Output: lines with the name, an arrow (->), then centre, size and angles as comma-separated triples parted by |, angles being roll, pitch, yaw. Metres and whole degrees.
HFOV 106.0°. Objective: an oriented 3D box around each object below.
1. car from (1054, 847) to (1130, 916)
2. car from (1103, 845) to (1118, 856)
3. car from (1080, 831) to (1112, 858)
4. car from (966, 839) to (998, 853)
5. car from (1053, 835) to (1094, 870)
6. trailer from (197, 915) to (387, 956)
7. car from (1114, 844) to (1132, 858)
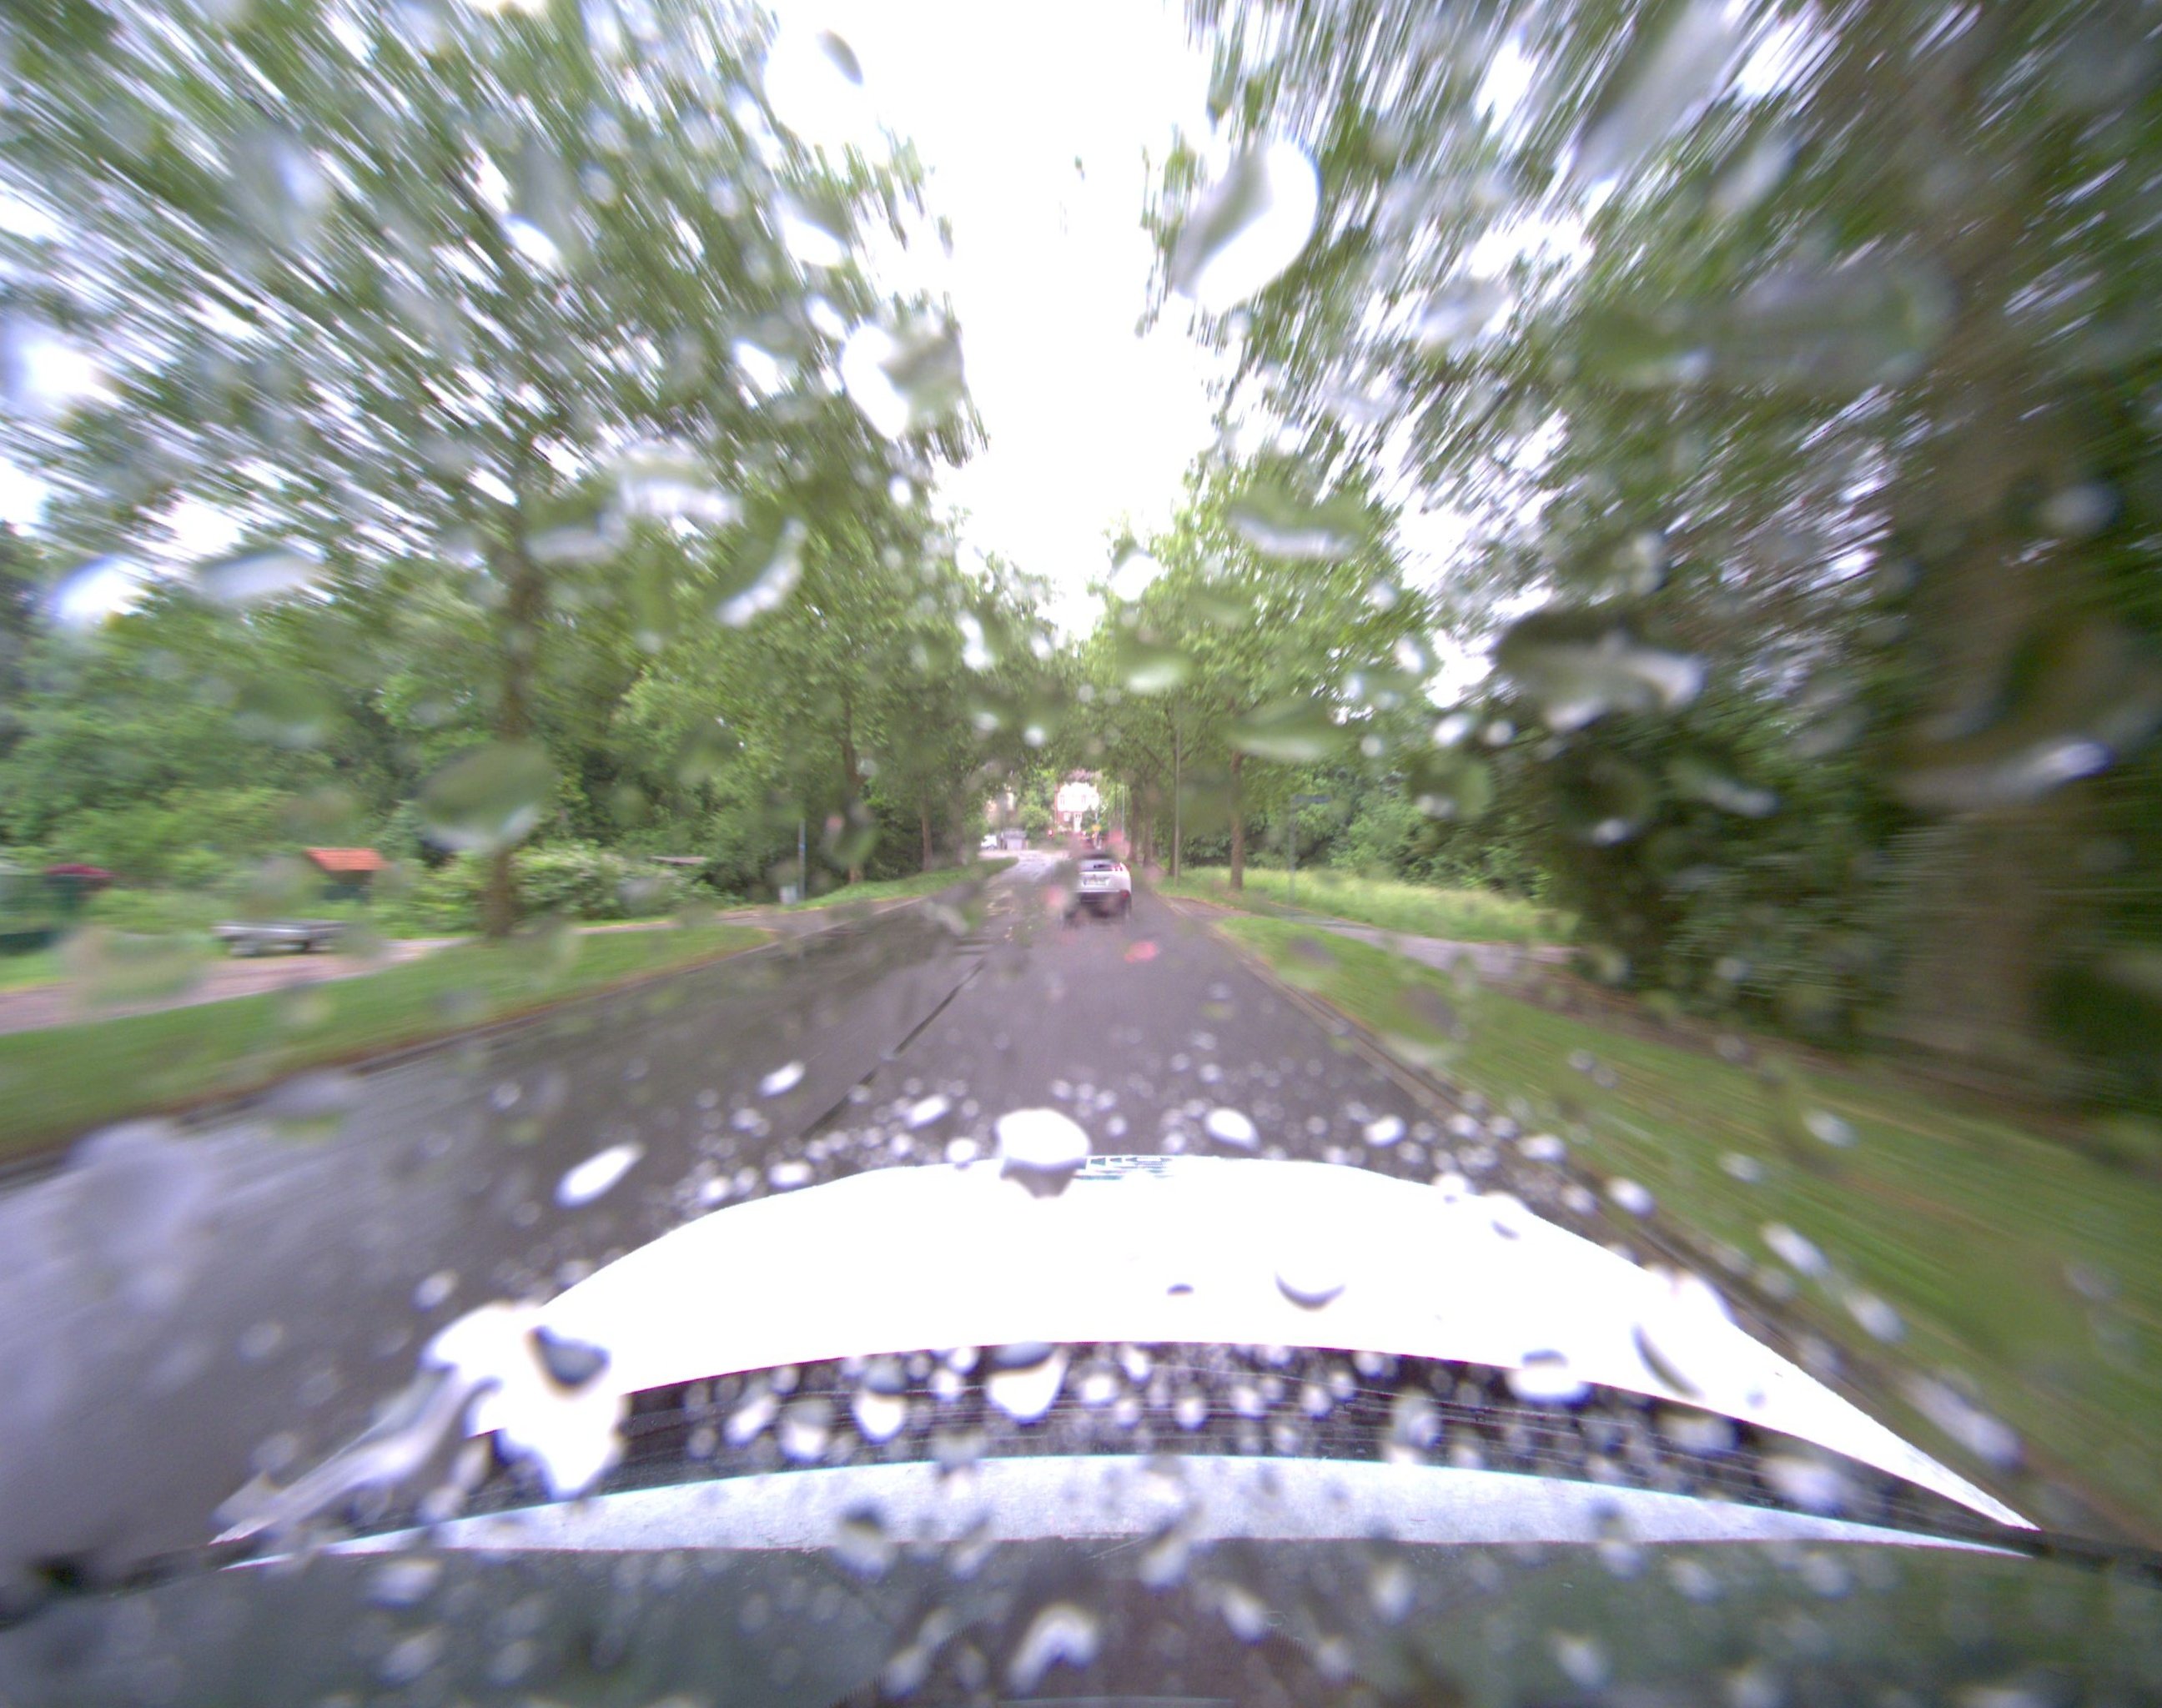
car -> 0.190, 0.609, 20.818 | 1.748, 1.535, 4.365 | 0, 1, -2
car -> 4.287, -0.504, 118.581 | 1.745, 1.491, 3.597 | 3, 0, -2
car -> 0.945, -0.671, 54.399 | 1.756, 1.711, 4.596 | 2, 2, -3
car -> -18.275, -1.499, 150.285 | 5.643, 2.494, 2.315 | 2, -1, -1
car -> -0.358, -0.119, 39.629 | 1.826, 1.456, 4.657 | 3, 2, -1
trailer -> -18.994, 1.942, 19.704 | 3.015, 0.837, 1.680 | 0, -1, 4
car -> 5.572, -0.407, 108.921 | 1.816, 1.517, 3.738 | 8, 2, -4
